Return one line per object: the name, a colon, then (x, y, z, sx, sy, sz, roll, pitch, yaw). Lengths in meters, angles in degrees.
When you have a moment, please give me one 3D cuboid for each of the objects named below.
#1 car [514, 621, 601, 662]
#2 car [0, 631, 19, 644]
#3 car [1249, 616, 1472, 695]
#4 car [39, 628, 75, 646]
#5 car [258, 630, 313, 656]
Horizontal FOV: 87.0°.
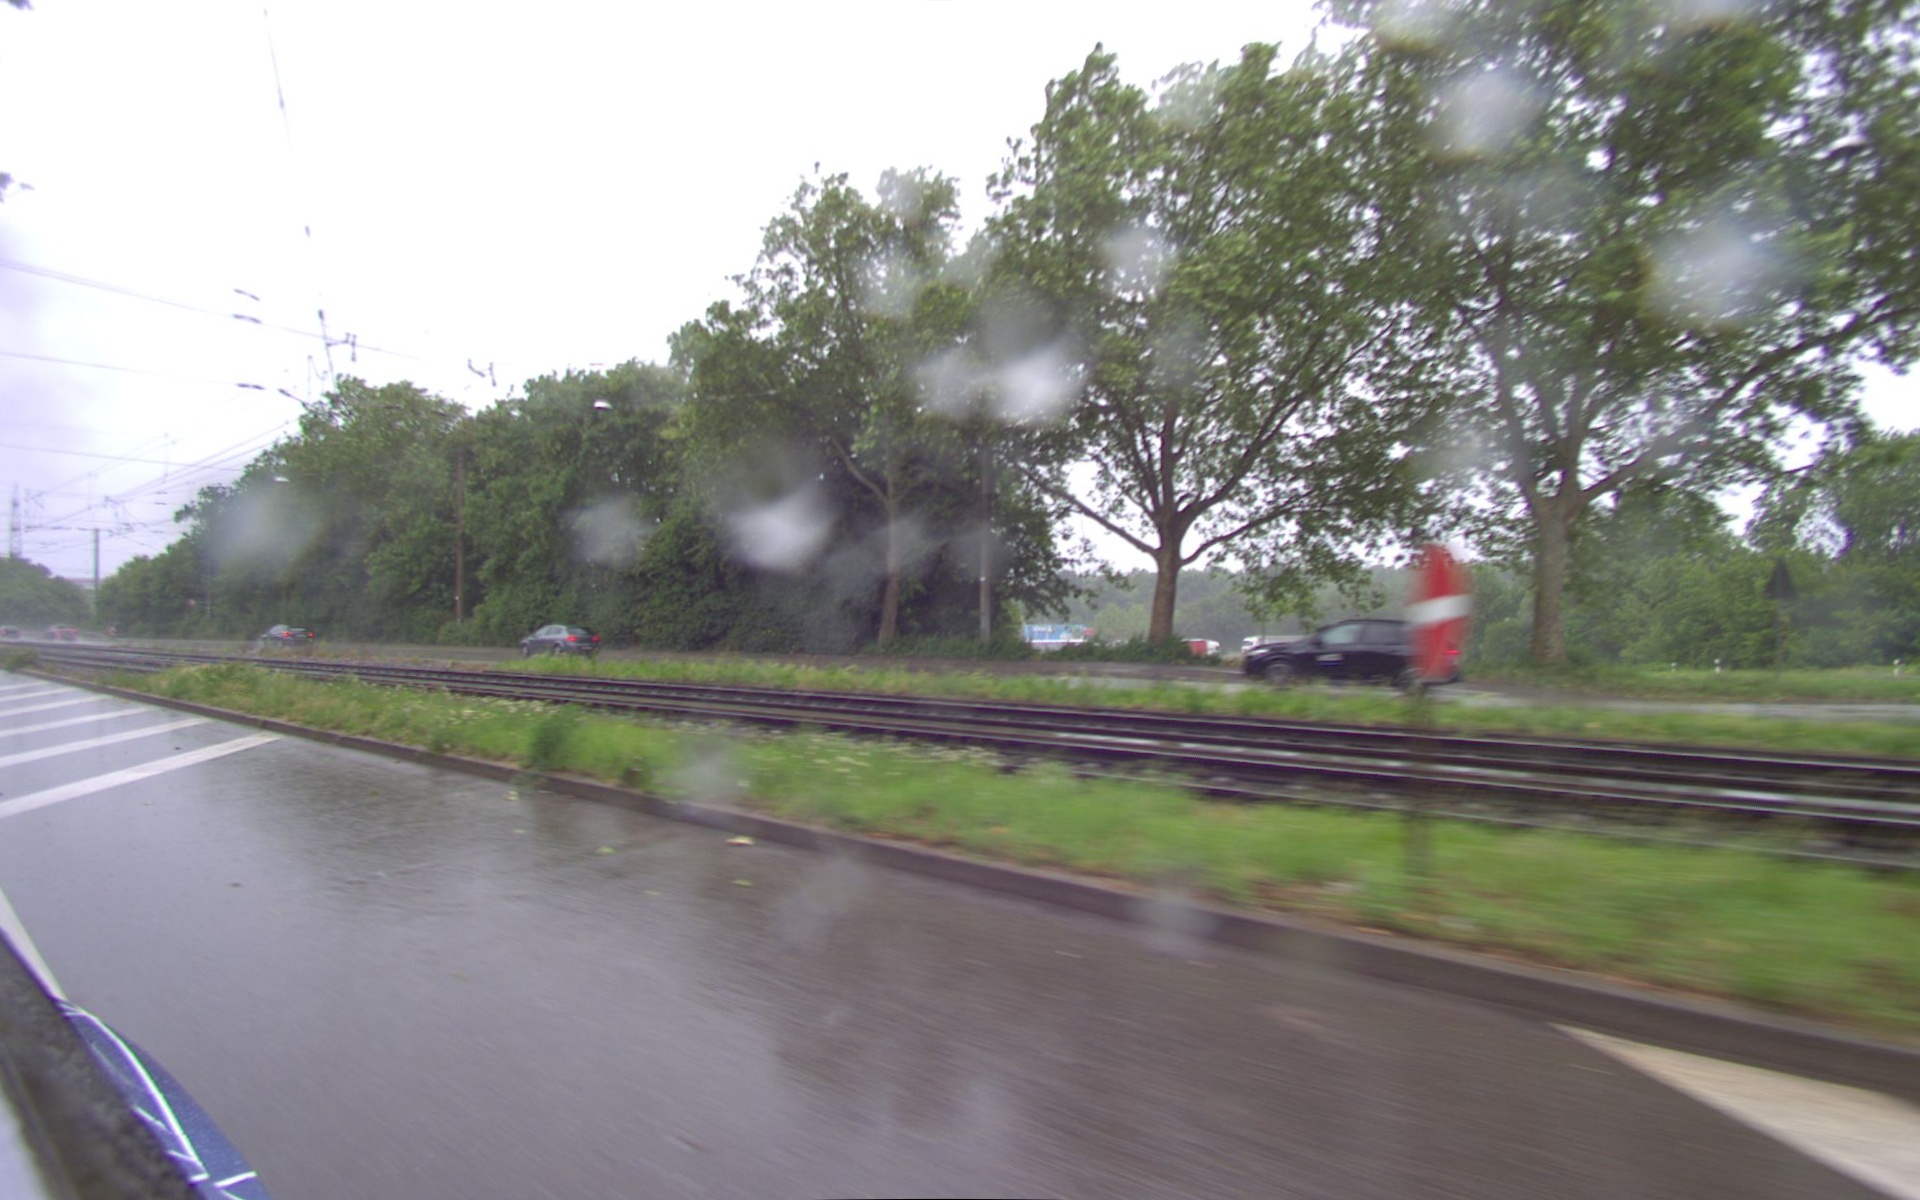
car: (-16.788, 1.704, 42.133, 4.043, 1.580, 1.635, -1, -1, 39)
car: (-105.276, 4.093, 111.538, 4.375, 1.340, 1.754, -2, -1, 39)
car: (8.561, 1.150, 21.903, 4.248, 1.540, 2.203, -1, -1, 21)
car: (-81.598, 3.317, 91.459, 4.950, 1.535, 1.674, -1, -1, 39)
car: (-40.317, 2.532, 60.471, 3.935, 1.416, 1.666, -1, -1, 39)
